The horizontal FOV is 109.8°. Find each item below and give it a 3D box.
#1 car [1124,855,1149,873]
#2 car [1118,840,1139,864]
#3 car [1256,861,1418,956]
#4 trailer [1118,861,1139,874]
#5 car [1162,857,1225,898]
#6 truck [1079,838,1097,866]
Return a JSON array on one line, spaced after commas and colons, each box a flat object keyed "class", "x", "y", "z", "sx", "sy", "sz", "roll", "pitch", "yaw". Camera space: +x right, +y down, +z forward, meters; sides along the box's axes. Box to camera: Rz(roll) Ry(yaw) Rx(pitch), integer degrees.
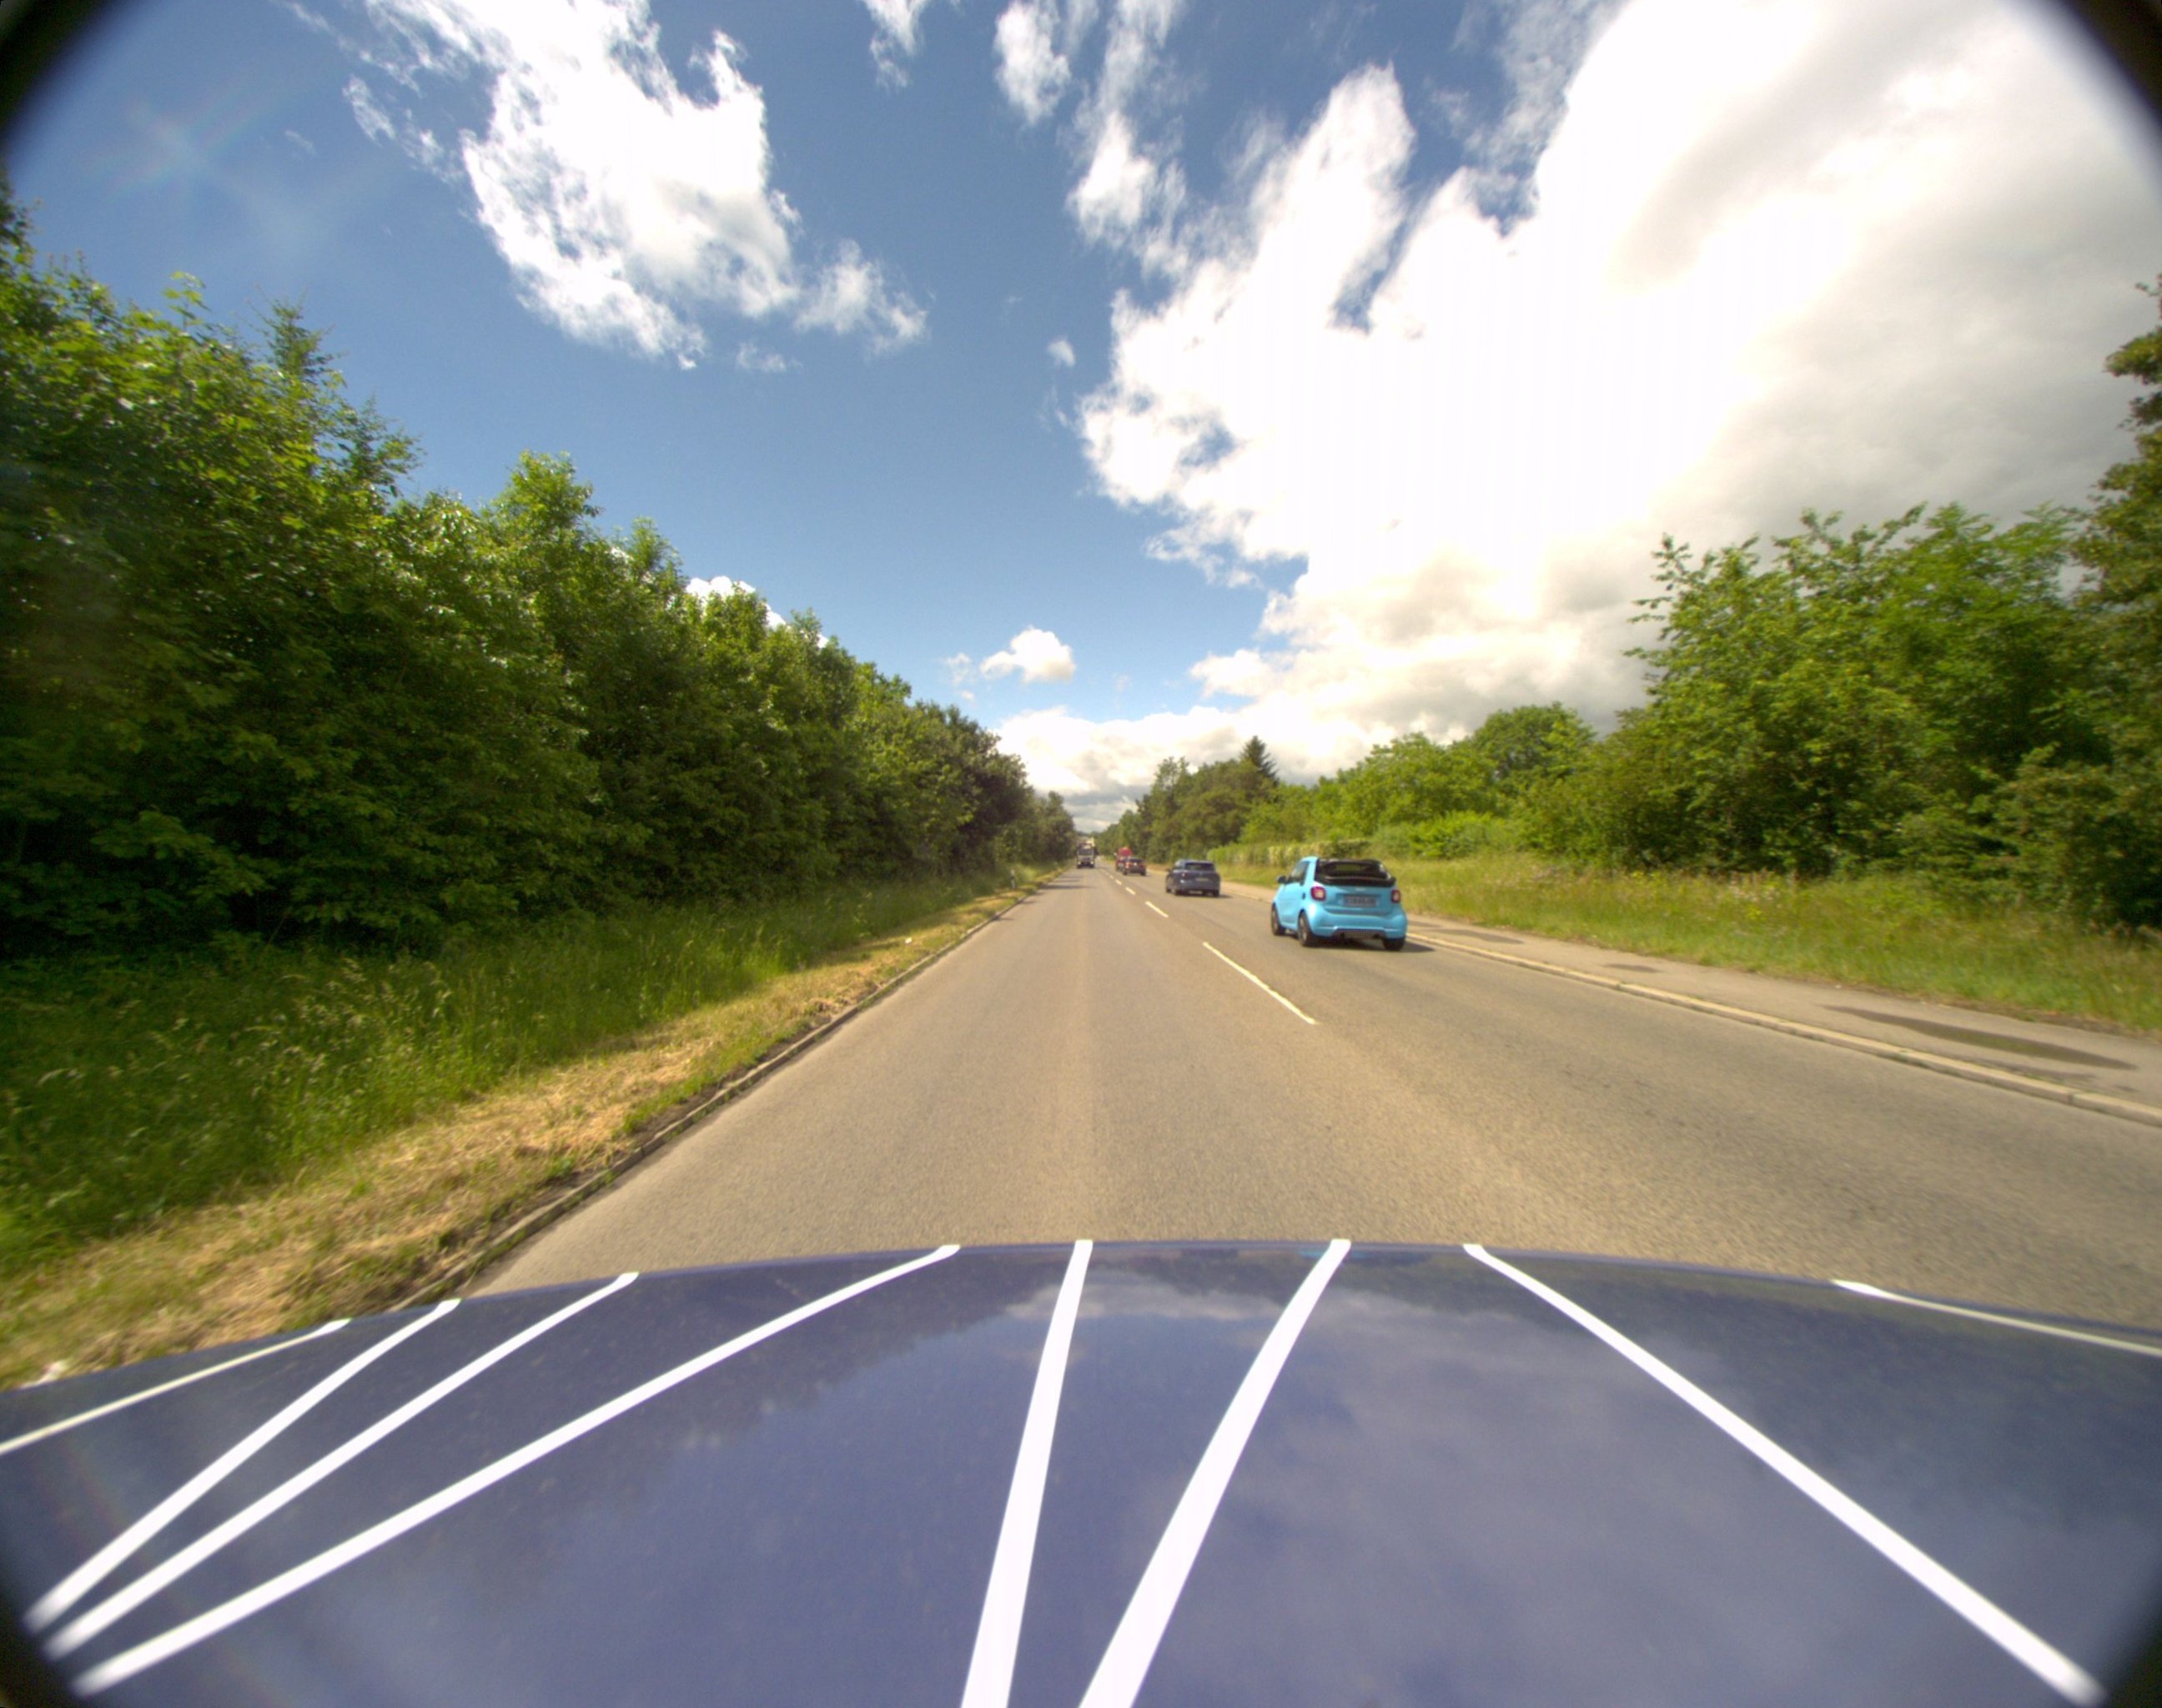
[{"class": "car", "x": 4.644, "y": 0.818, "z": 63.966, "sx": 1.720, "sy": 1.462, "sz": 4.000, "roll": 2, "pitch": 0, "yaw": 0}, {"class": "car", "x": 5.243, "y": -0.202, "z": 84.948, "sx": 1.974, "sy": 2.535, "sz": 4.725, "roll": 2, "pitch": 0, "yaw": 0}, {"class": "car", "x": 4.384, "y": 0.874, "z": 13.472, "sx": 1.789, "sy": 1.438, "sz": 2.966, "roll": 2, "pitch": 0, "yaw": -1}, {"class": "trailer", "x": 5.007, "y": 1.397, "z": 80.289, "sx": 1.896, "sy": 1.193, "sz": 3.917, "roll": 2, "pitch": 0, "yaw": 0}, {"class": "car", "x": 4.447, "y": 0.890, "z": 30.630, "sx": 1.789, "sy": 1.438, "sz": 4.452, "roll": 2, "pitch": 0, "yaw": -1}, {"class": "truck", "x": 0.999, "y": -0.223, "z": 108.323, "sx": 2.306, "sy": 3.790, "sz": 8.183, "roll": -2, "pitch": 0, "yaw": 0}]
